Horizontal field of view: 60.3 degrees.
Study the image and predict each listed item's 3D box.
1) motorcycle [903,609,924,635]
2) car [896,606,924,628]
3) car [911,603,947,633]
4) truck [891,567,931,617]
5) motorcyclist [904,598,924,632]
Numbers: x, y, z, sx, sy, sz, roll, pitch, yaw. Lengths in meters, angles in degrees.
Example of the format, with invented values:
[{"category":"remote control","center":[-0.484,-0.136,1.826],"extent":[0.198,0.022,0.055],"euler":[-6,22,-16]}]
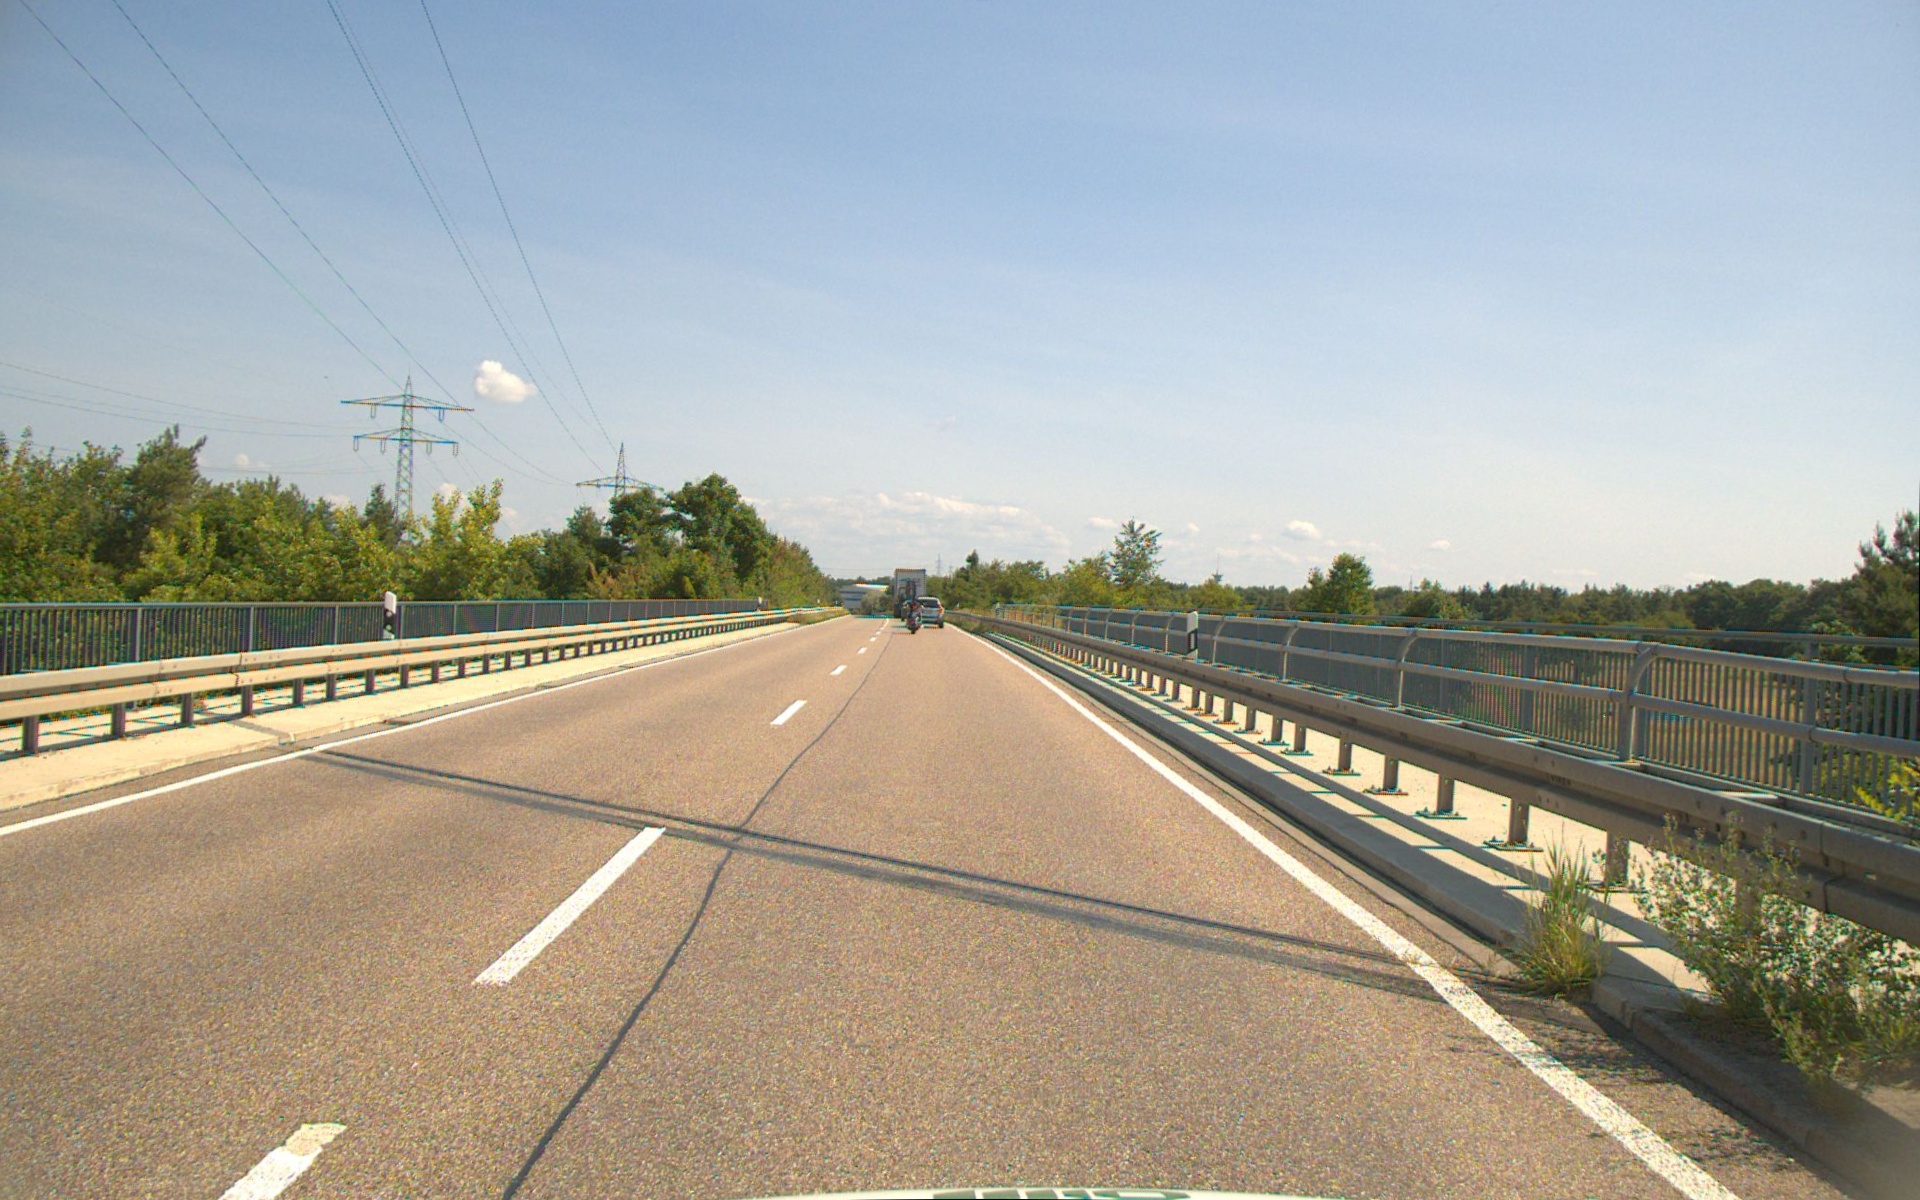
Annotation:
[{"category":"motorcycle","center":[-1.896,0.902,67.976],"extent":[0.764,0.992,2.361],"euler":[1,0,0]},{"category":"car","center":[-3.475,1.172,115.049],"extent":[1.828,1.445,4.000],"euler":[2,0,0]},{"category":"car","center":[-1.616,0.914,86.637],"extent":[1.788,1.477,4.000],"euler":[1,0,-1]},{"category":"truck","center":[-4.196,-0.633,142.442],"extent":[3.176,4.048,9.442],"euler":[1,0,-1]},{"category":"motorcyclist","center":[-1.879,0.606,67.996],"extent":[0.764,1.349,0.813],"euler":[1,0,0]}]
